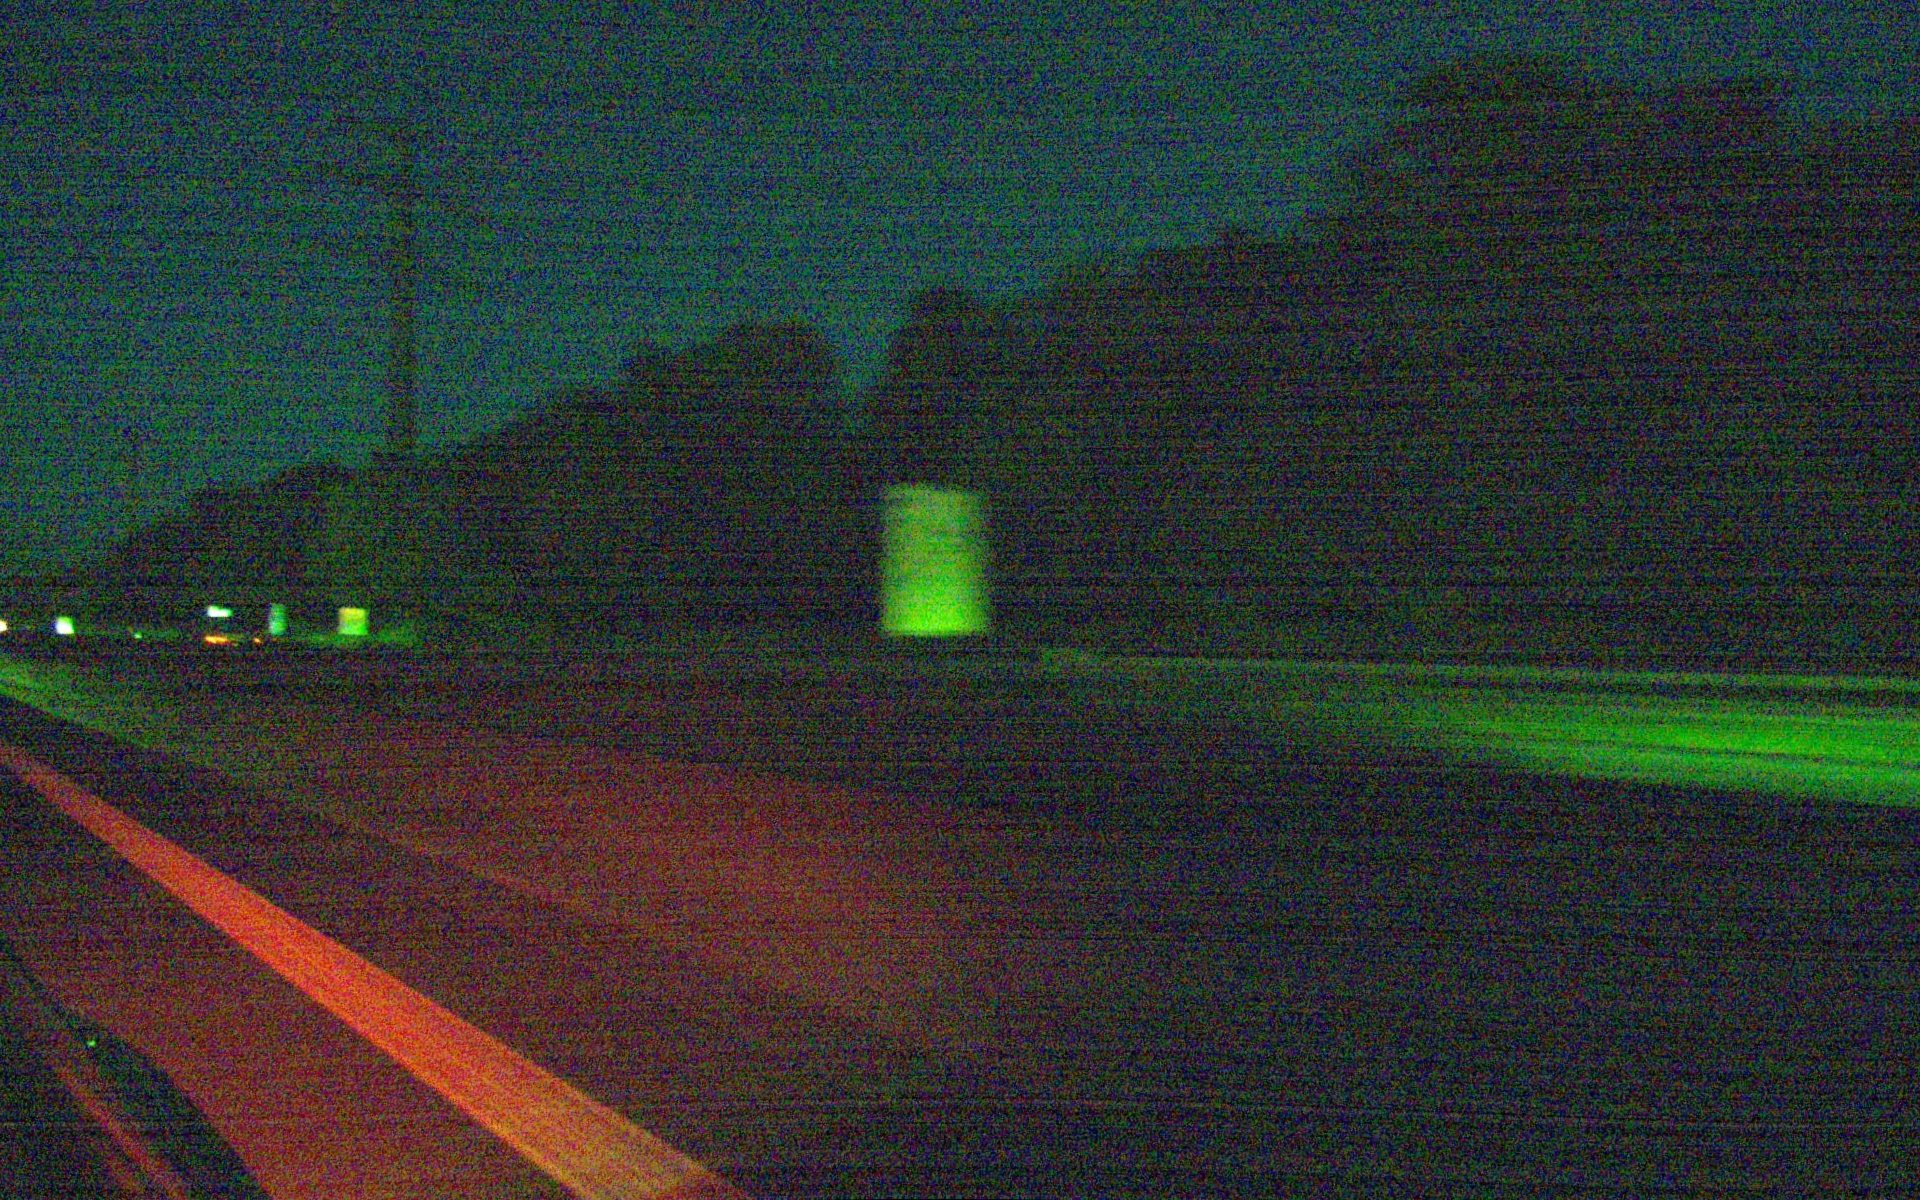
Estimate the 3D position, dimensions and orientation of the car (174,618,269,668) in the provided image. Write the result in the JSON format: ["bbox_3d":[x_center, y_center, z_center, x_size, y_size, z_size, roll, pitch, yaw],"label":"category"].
[{"bbox_3d":[-30.755,1.829,42.069,5.452,1.937,1.888,-3,-4,40],"label":"car"}]
